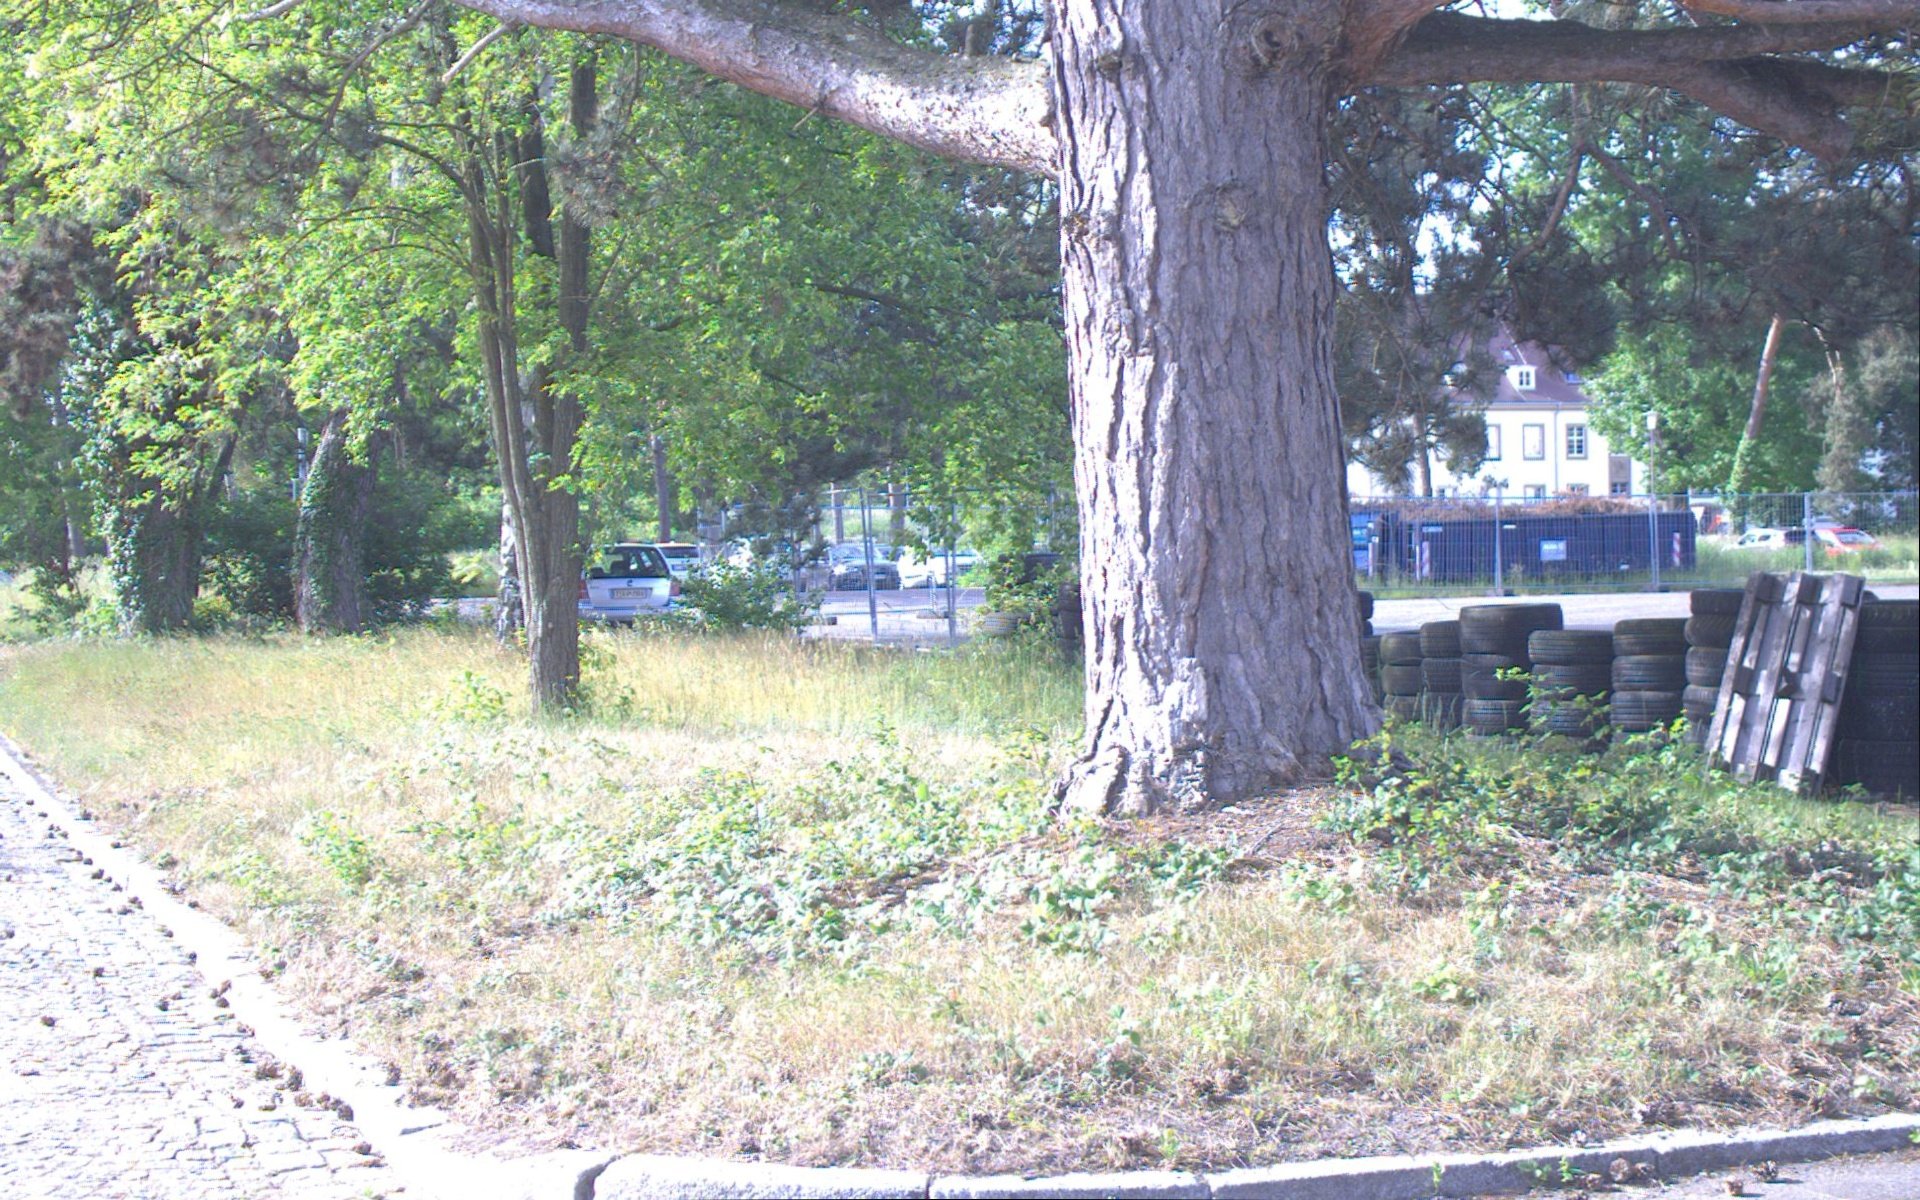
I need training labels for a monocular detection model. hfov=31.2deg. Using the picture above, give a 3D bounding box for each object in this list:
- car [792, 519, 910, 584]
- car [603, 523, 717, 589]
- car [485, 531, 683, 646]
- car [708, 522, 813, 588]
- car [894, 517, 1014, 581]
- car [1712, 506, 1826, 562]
[{"bbox_3d":[-2.868,-1.263,89.742,1.993,1.612,4.001,-1,1,-18],"label":"car"},{"bbox_3d":[-7.662,-1.123,87.596,1.993,1.612,4.001,-1,1,-18],"label":"car"},{"bbox_3d":[-5.390,-0.192,48.909,1.886,1.536,4.001,-1,1,-20],"label":"car"},{"bbox_3d":[-5.182,-1.164,88.682,1.820,1.612,4.001,-1,1,-16],"label":"car"},{"bbox_3d":[-0.177,-1.344,90.946,1.993,1.612,4.001,-1,1,-18],"label":"car"},{"bbox_3d":[26.111,-2.113,111.058,1.993,1.744,4.001,-1,1,-13],"label":"car"}]
